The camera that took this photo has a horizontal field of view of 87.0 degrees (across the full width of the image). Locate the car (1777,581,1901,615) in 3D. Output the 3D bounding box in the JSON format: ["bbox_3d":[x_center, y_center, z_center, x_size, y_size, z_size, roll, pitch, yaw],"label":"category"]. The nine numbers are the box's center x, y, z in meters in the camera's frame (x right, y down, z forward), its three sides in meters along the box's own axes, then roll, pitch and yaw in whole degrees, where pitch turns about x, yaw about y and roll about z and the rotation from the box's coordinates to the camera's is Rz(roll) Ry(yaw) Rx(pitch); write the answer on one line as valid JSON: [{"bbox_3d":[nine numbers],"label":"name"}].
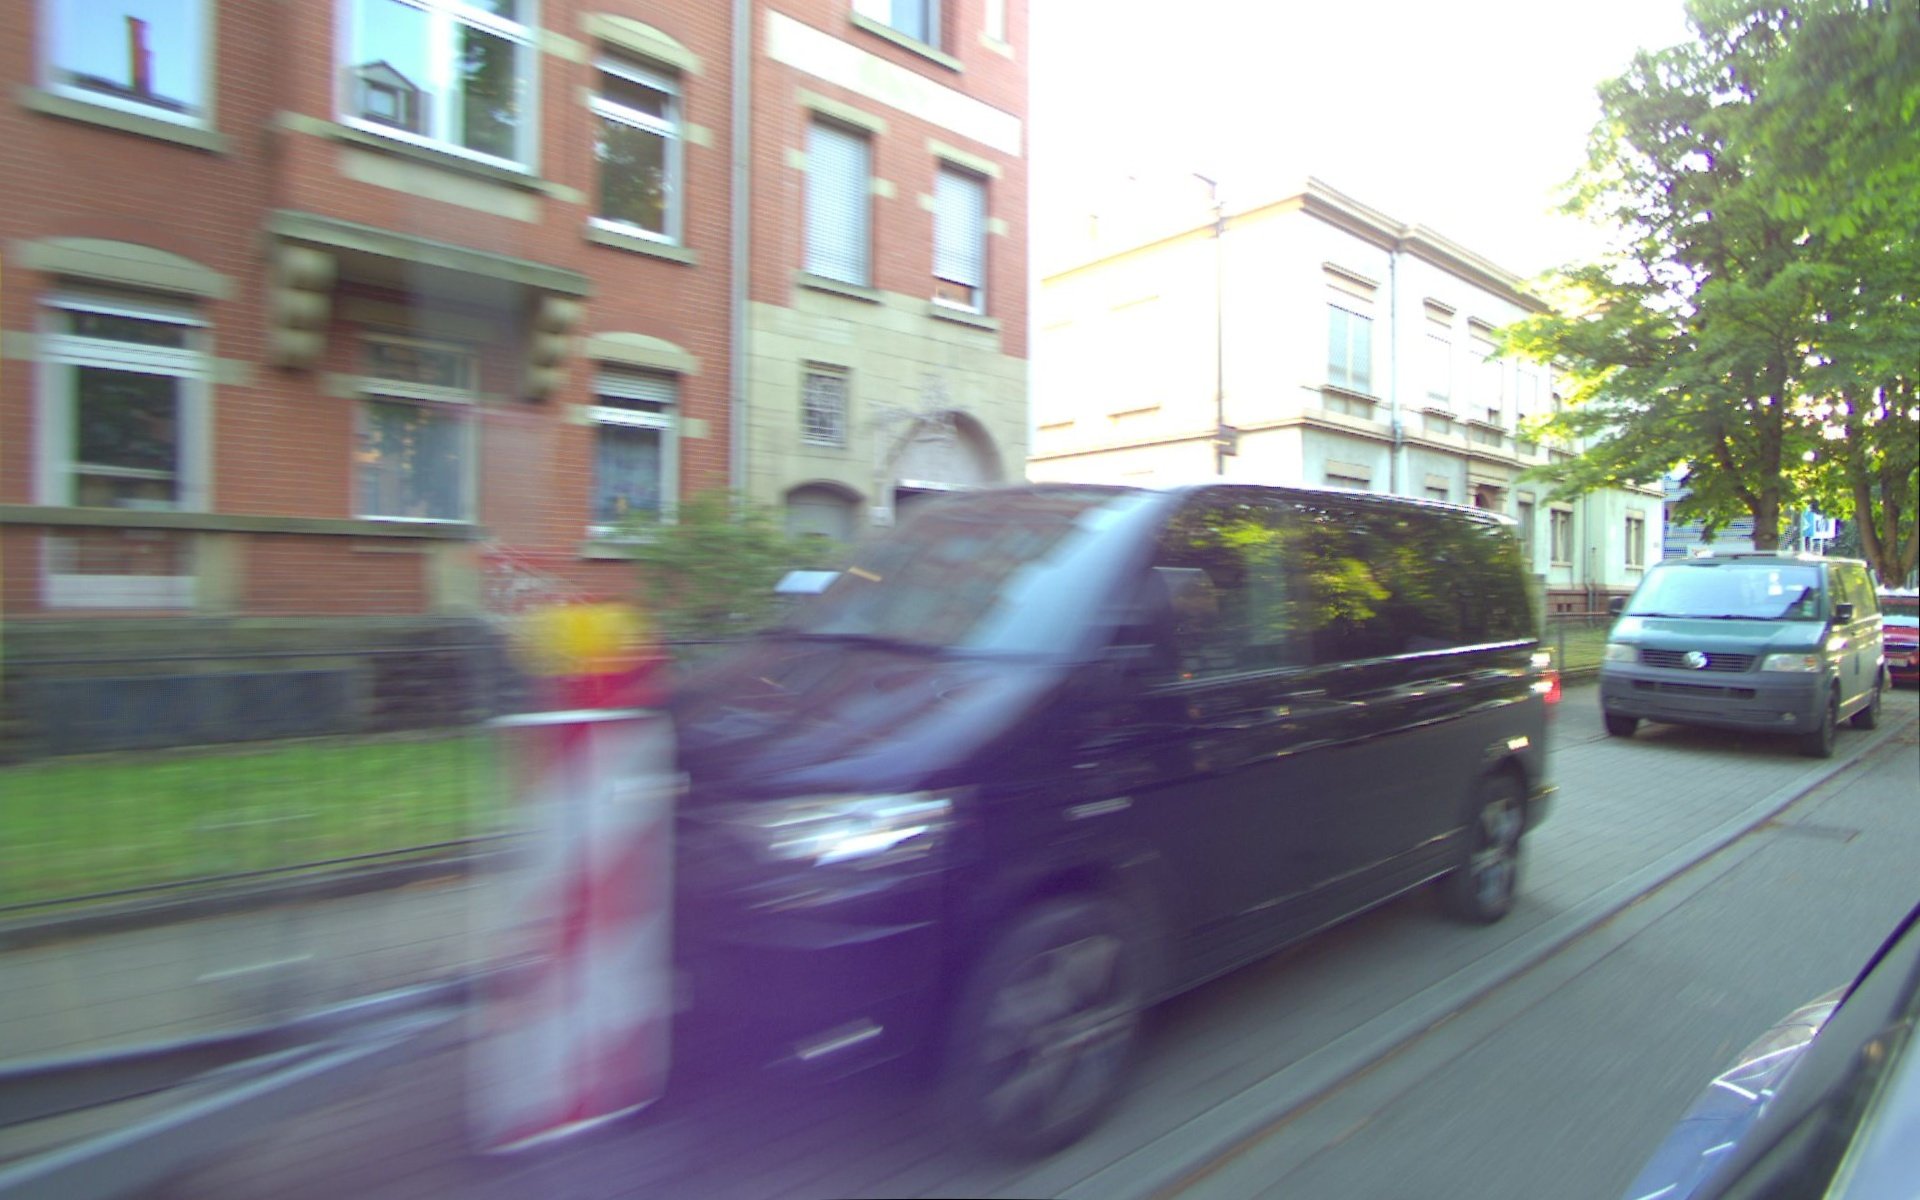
[{"bbox_3d":[45.067,-0.082,51.968,1.839,1.664,4.584,1,0,-41],"label":"car"}]

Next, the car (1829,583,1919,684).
[{"bbox_3d":[16.076,0.533,17.056,3.630,1.518,1.667,0,3,-42],"label":"car"}]

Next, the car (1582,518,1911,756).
[{"bbox_3d":[8.797,0.280,11.155,4.746,2.084,1.958,0,3,-42],"label":"car"}]

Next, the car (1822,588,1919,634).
[{"bbox_3d":[32.873,0.373,35.575,1.781,1.520,4.166,1,0,5],"label":"car"}]

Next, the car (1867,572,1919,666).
[{"bbox_3d":[19.148,0.372,20.029,1.664,1.699,4.058,4,3,41],"label":"car"}]

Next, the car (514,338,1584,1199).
[{"bbox_3d":[0.797,0.415,4.262,4.534,1.966,1.842,0,3,-42],"label":"car"}]
